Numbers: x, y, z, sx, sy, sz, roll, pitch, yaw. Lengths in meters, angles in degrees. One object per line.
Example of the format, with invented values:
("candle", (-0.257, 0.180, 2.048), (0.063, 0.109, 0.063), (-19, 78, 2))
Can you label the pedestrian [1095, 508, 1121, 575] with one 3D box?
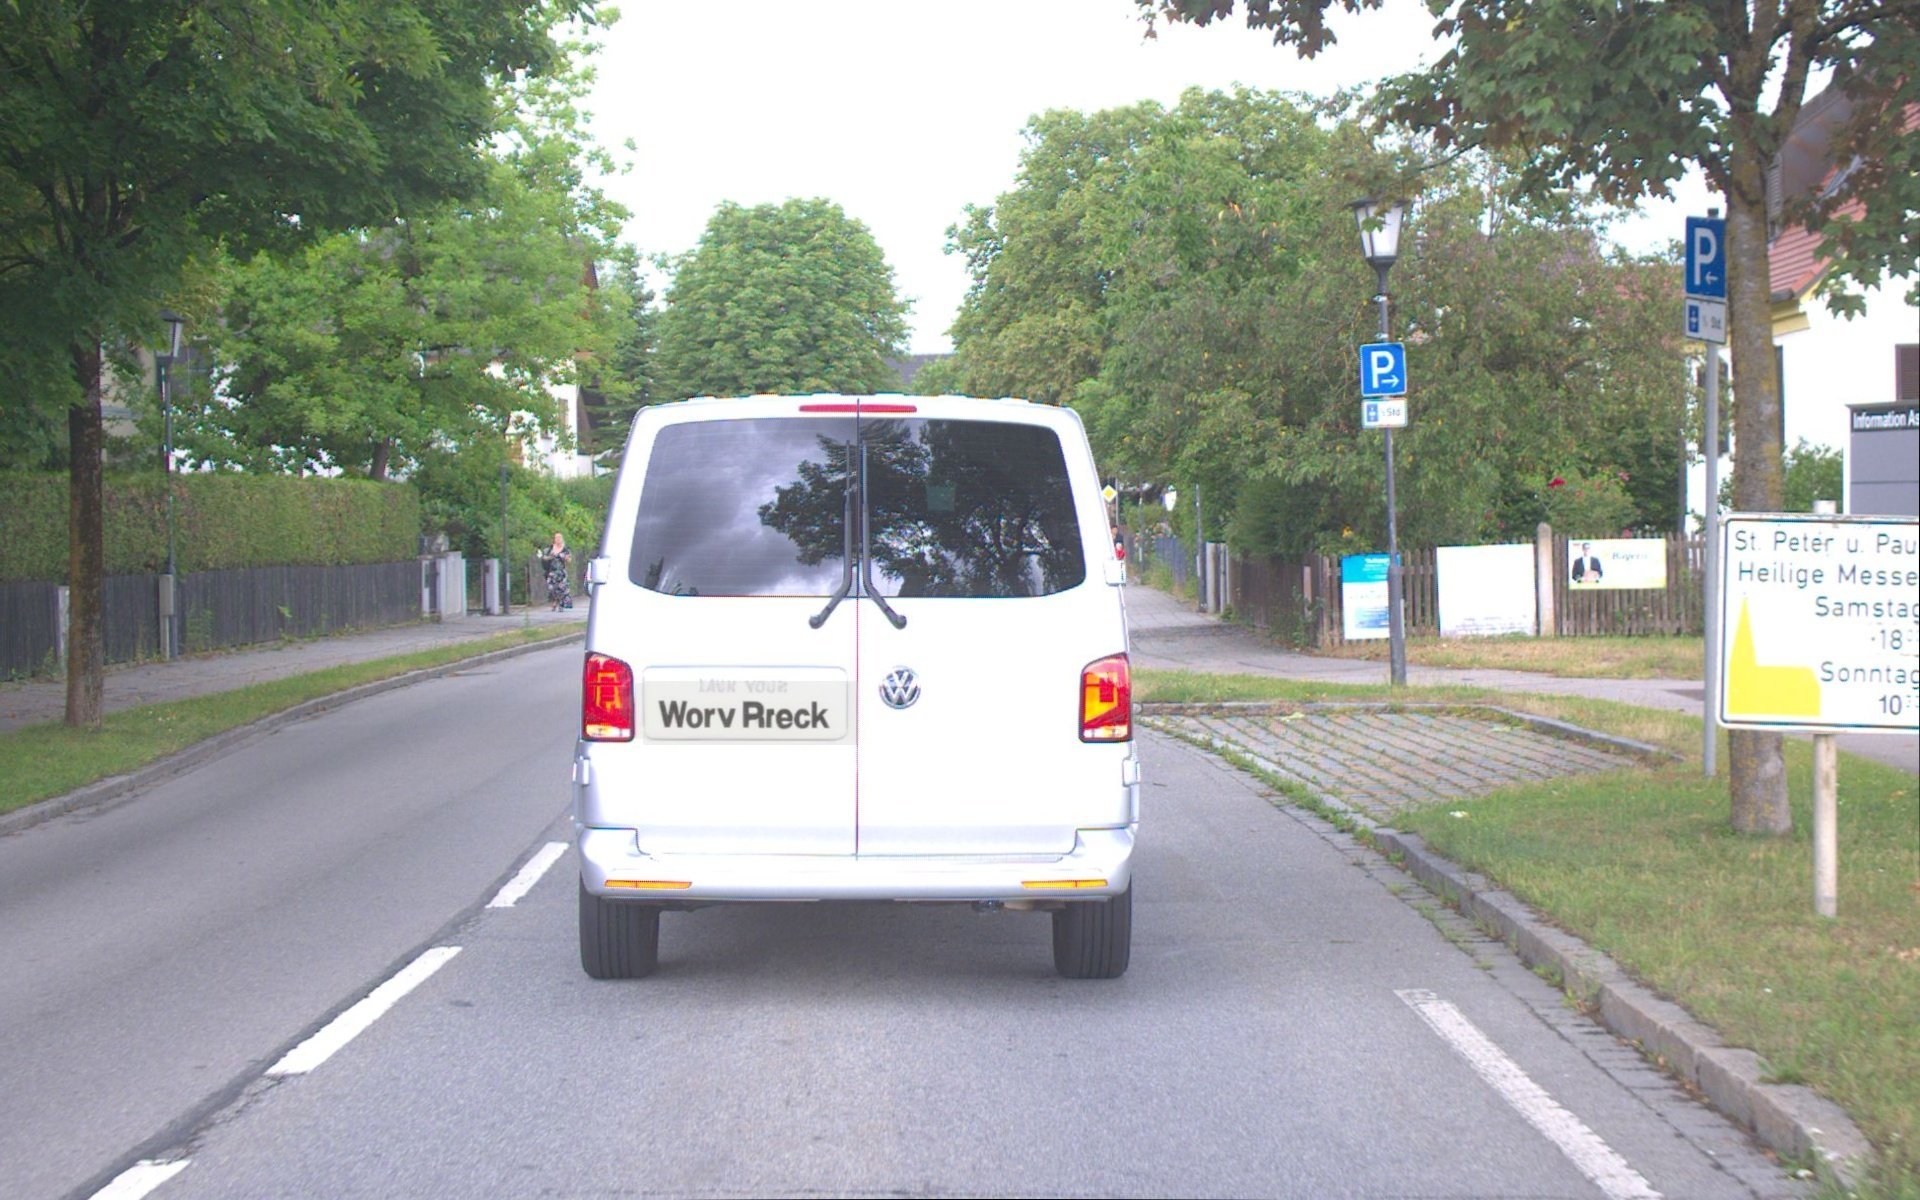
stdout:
("pedestrian", (3.479, -1.376, 80.872), (0.551, 1.544, 0.612), (1, 1, -3))

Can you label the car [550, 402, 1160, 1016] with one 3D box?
("car", (-0.316, 0.304, 12.667), (1.888, 1.905, 4.000), (0, 1, 0))

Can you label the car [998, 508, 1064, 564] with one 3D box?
("car", (2.677, -2.427, 129.222), (1.994, 2.007, 3.999), (-1, 1, 7))

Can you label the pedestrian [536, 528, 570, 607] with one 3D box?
("pedestrian", (-8.071, -0.651, 68.191), (0.622, 1.544, 0.522), (1, 1, -3))

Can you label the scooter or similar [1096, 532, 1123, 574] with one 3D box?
("scooter or similar", (3.484, -1.099, 80.145), (0.551, 0.968, 0.620), (1, 1, -3))
